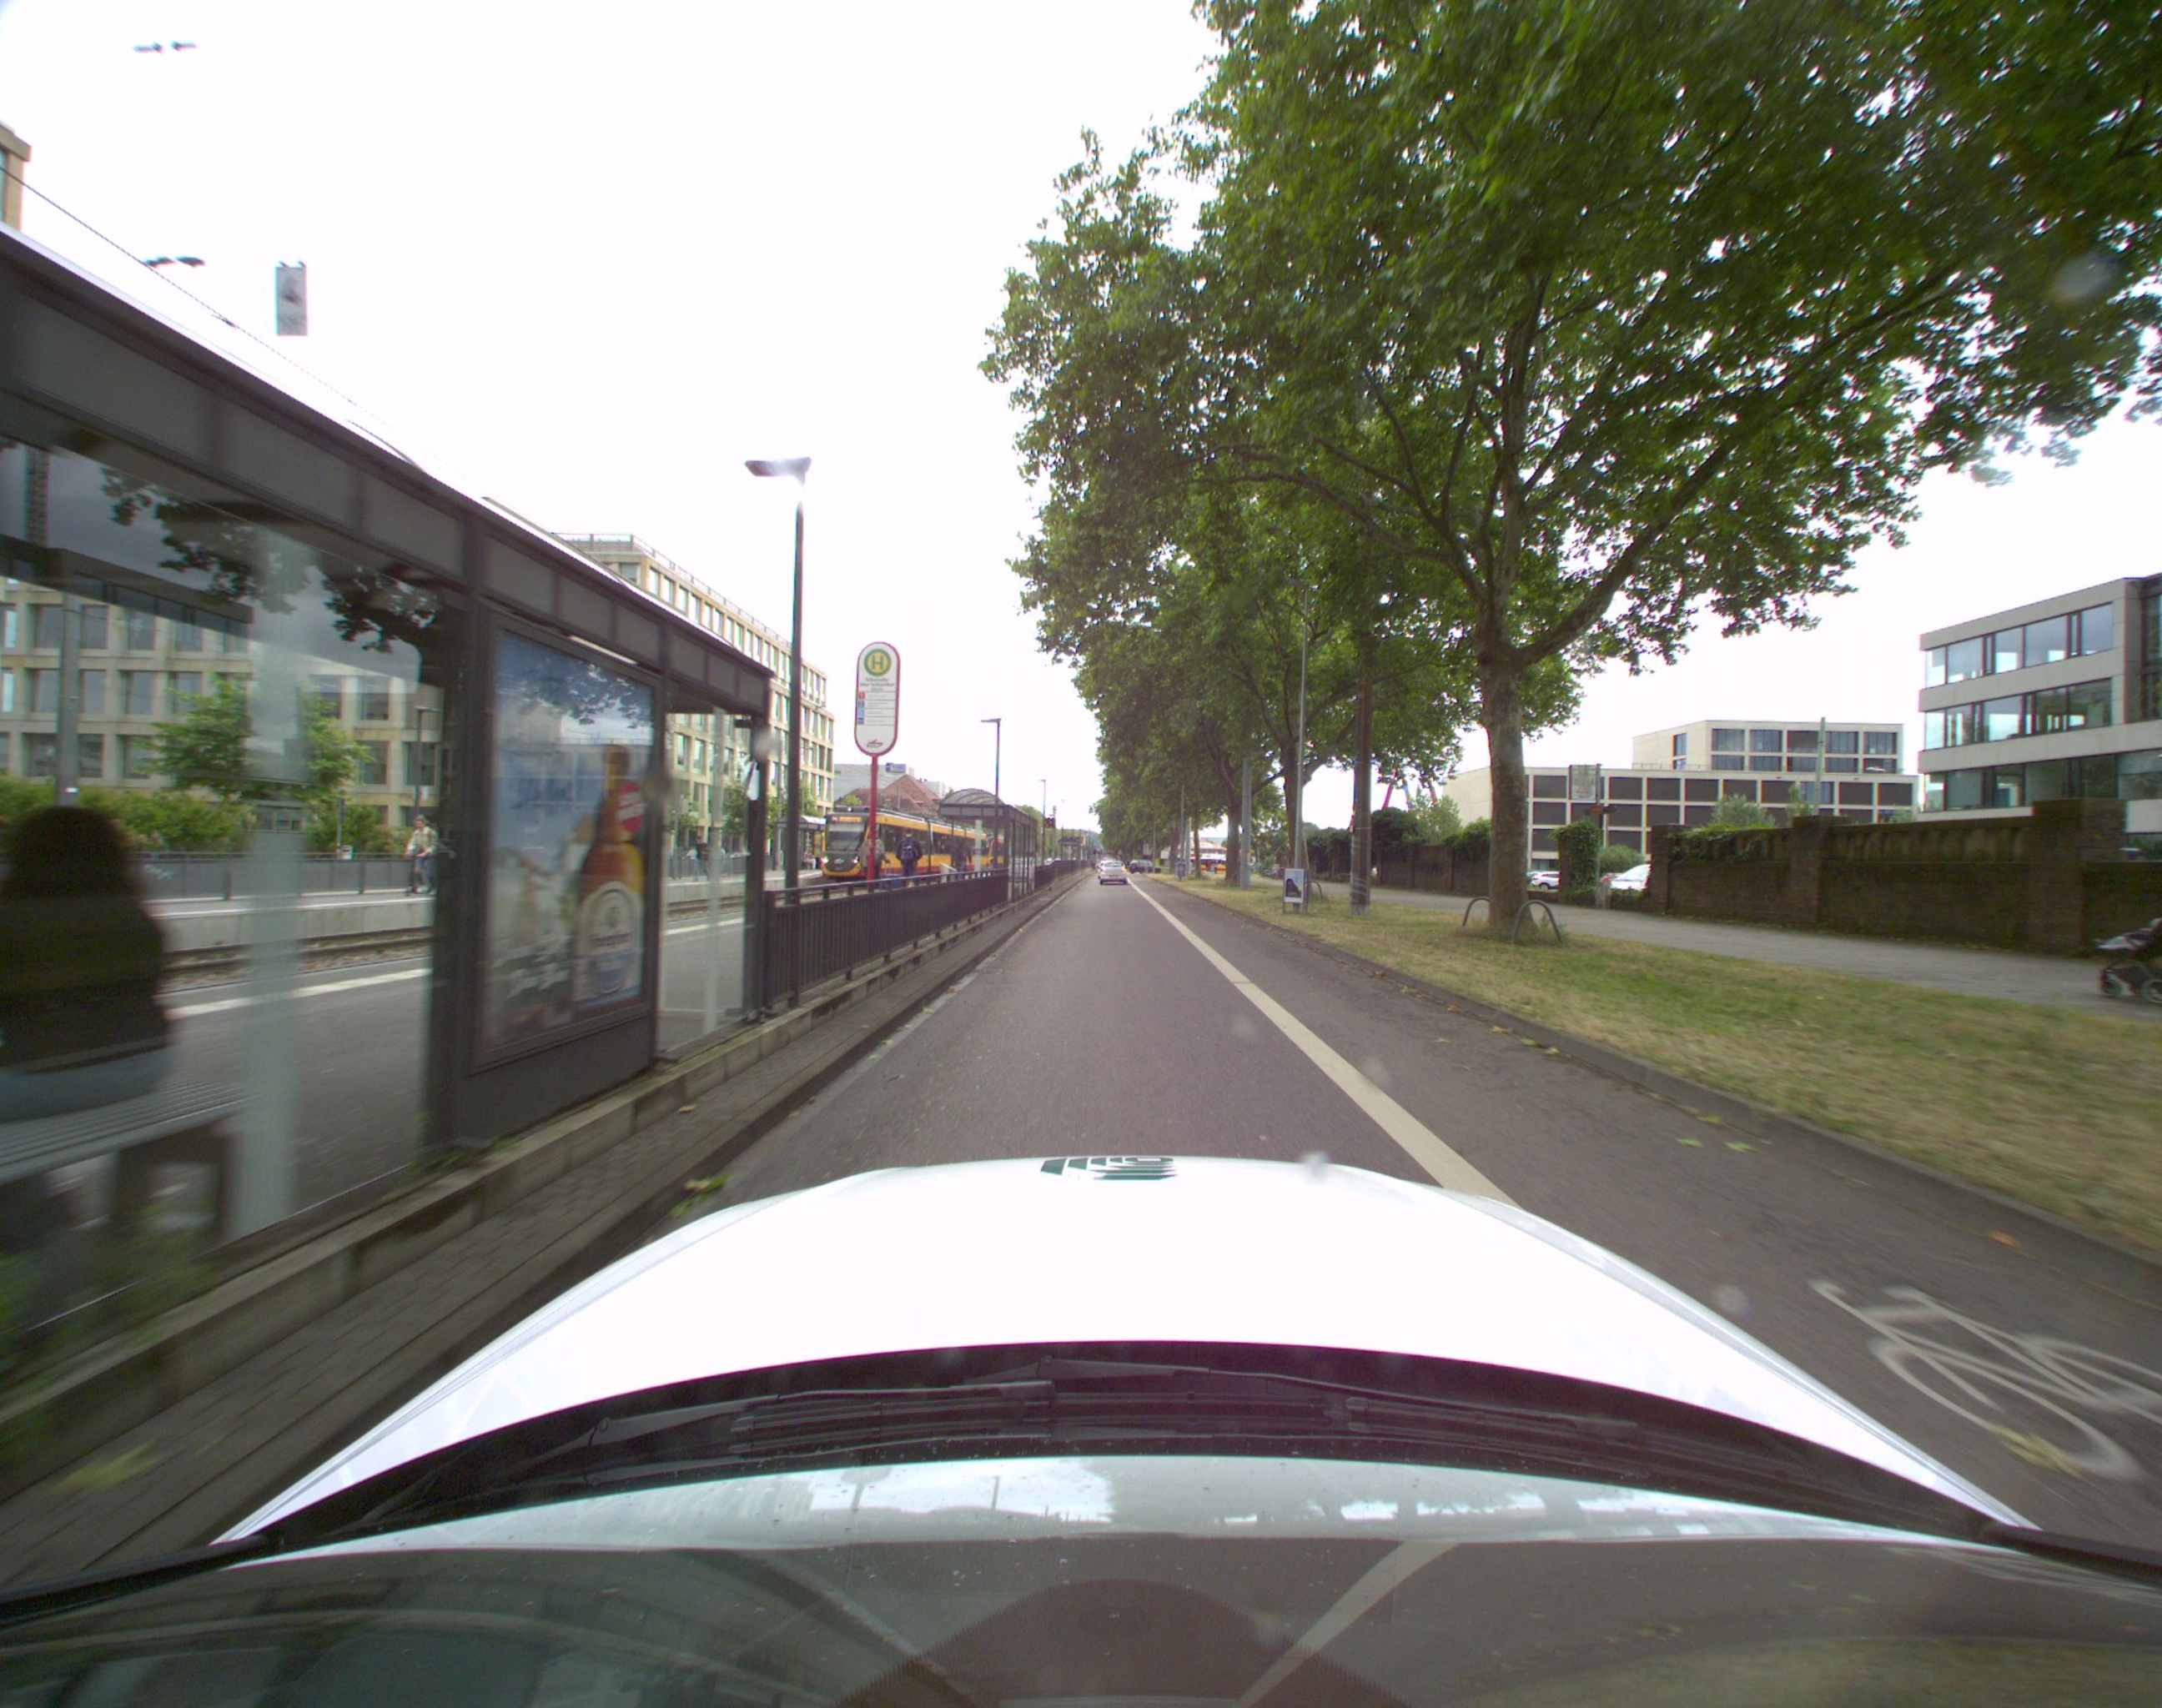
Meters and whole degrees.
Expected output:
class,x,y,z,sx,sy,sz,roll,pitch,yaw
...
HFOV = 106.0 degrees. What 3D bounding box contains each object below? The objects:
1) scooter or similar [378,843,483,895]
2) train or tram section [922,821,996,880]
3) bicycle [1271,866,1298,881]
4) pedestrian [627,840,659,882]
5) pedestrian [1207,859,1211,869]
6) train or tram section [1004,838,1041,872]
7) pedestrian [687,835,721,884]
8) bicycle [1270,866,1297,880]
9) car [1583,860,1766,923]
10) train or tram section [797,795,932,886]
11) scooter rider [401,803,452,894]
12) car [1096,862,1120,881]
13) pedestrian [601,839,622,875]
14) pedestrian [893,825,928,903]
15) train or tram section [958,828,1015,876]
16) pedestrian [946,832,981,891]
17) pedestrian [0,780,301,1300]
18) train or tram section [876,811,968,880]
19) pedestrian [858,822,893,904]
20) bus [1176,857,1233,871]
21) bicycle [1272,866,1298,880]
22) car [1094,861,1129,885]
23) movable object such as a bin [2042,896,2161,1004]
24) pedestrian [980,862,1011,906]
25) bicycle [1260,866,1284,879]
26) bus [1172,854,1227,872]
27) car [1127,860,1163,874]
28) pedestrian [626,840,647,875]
class,x,y,z,sx,sy,sz,roll,pitch,yaw
scooter or similar,-14.741,0.336,18.544,0.521,1.114,2.227,1,-1,1
train or tram section,-9.378,-0.123,64.566,3.168,4.179,13.626,1,-1,2
bicycle,15.673,1.484,62.752,1.884,1.105,0.550,-1,-1,0
pedestrian,-21.684,0.358,40.344,0.930,2.014,1.032,1,-1,0
pedestrian,20.583,1.614,130.924,0.491,1.463,0.523,1,-1,-1
train or tram section,-7.626,0.267,108.210,3.168,4.179,14.740,1,-1,2
pedestrian,-14.249,0.207,30.810,0.709,1.796,1.160,1,-1,1
bicycle,15.919,1.489,63.971,1.968,1.095,0.550,-1,-1,0
car,20.236,1.264,27.912,4.861,2.014,1.999,1,-1,-1
train or tram section,-10.349,-0.493,40.714,3.225,3.862,11.316,1,-1,2
scooter rider,-14.736,-0.115,18.354,0.514,2.009,0.682,1,-1,1
car,2.309,1.468,68.859,1.833,1.552,4.003,0,-1,3
pedestrian,-26.802,0.190,46.524,0.710,2.014,0.725,1,-1,1
pedestrian,-4.041,0.235,19.326,0.669,1.793,1.110,1,-1,-7
train or tram section,-8.866,-0.045,78.746,3.168,4.179,14.740,1,-1,2
pedestrian,-4.173,0.270,28.883,1.054,2.014,0.840,1,-1,2
pedestrian,-2.989,0.491,2.472,0.608,1.372,0.600,1,-1,2
train or tram section,-9.851,-0.374,52.091,3.151,3.862,11.316,1,-1,2
pedestrian,-4.604,0.208,18.305,0.670,1.793,1.109,1,-1,-11
bus,20.678,1.695,136.852,9.249,2.227,1.999,1,-1,-1
bicycle,15.836,1.480,63.334,1.894,1.097,0.550,-1,-1,0
car,1.934,1.218,52.934,1.881,1.453,3.995,1,-1,-3
movable object such as a bin,11.819,1.063,9.275,0.608,1.112,1.017,1,0,8
pedestrian,-2.591,0.892,24.709,0.832,1.304,0.613,1,-1,0
bicycle,15.935,1.547,67.914,1.915,1.091,0.550,-1,-1,0
bus,20.371,1.511,140.391,9.249,2.960,1.999,1,-1,-1
car,7.275,1.486,92.231,3.968,1.486,1.788,0,0,4
pedestrian,-25.627,0.192,46.936,0.710,2.014,0.725,1,-1,1
